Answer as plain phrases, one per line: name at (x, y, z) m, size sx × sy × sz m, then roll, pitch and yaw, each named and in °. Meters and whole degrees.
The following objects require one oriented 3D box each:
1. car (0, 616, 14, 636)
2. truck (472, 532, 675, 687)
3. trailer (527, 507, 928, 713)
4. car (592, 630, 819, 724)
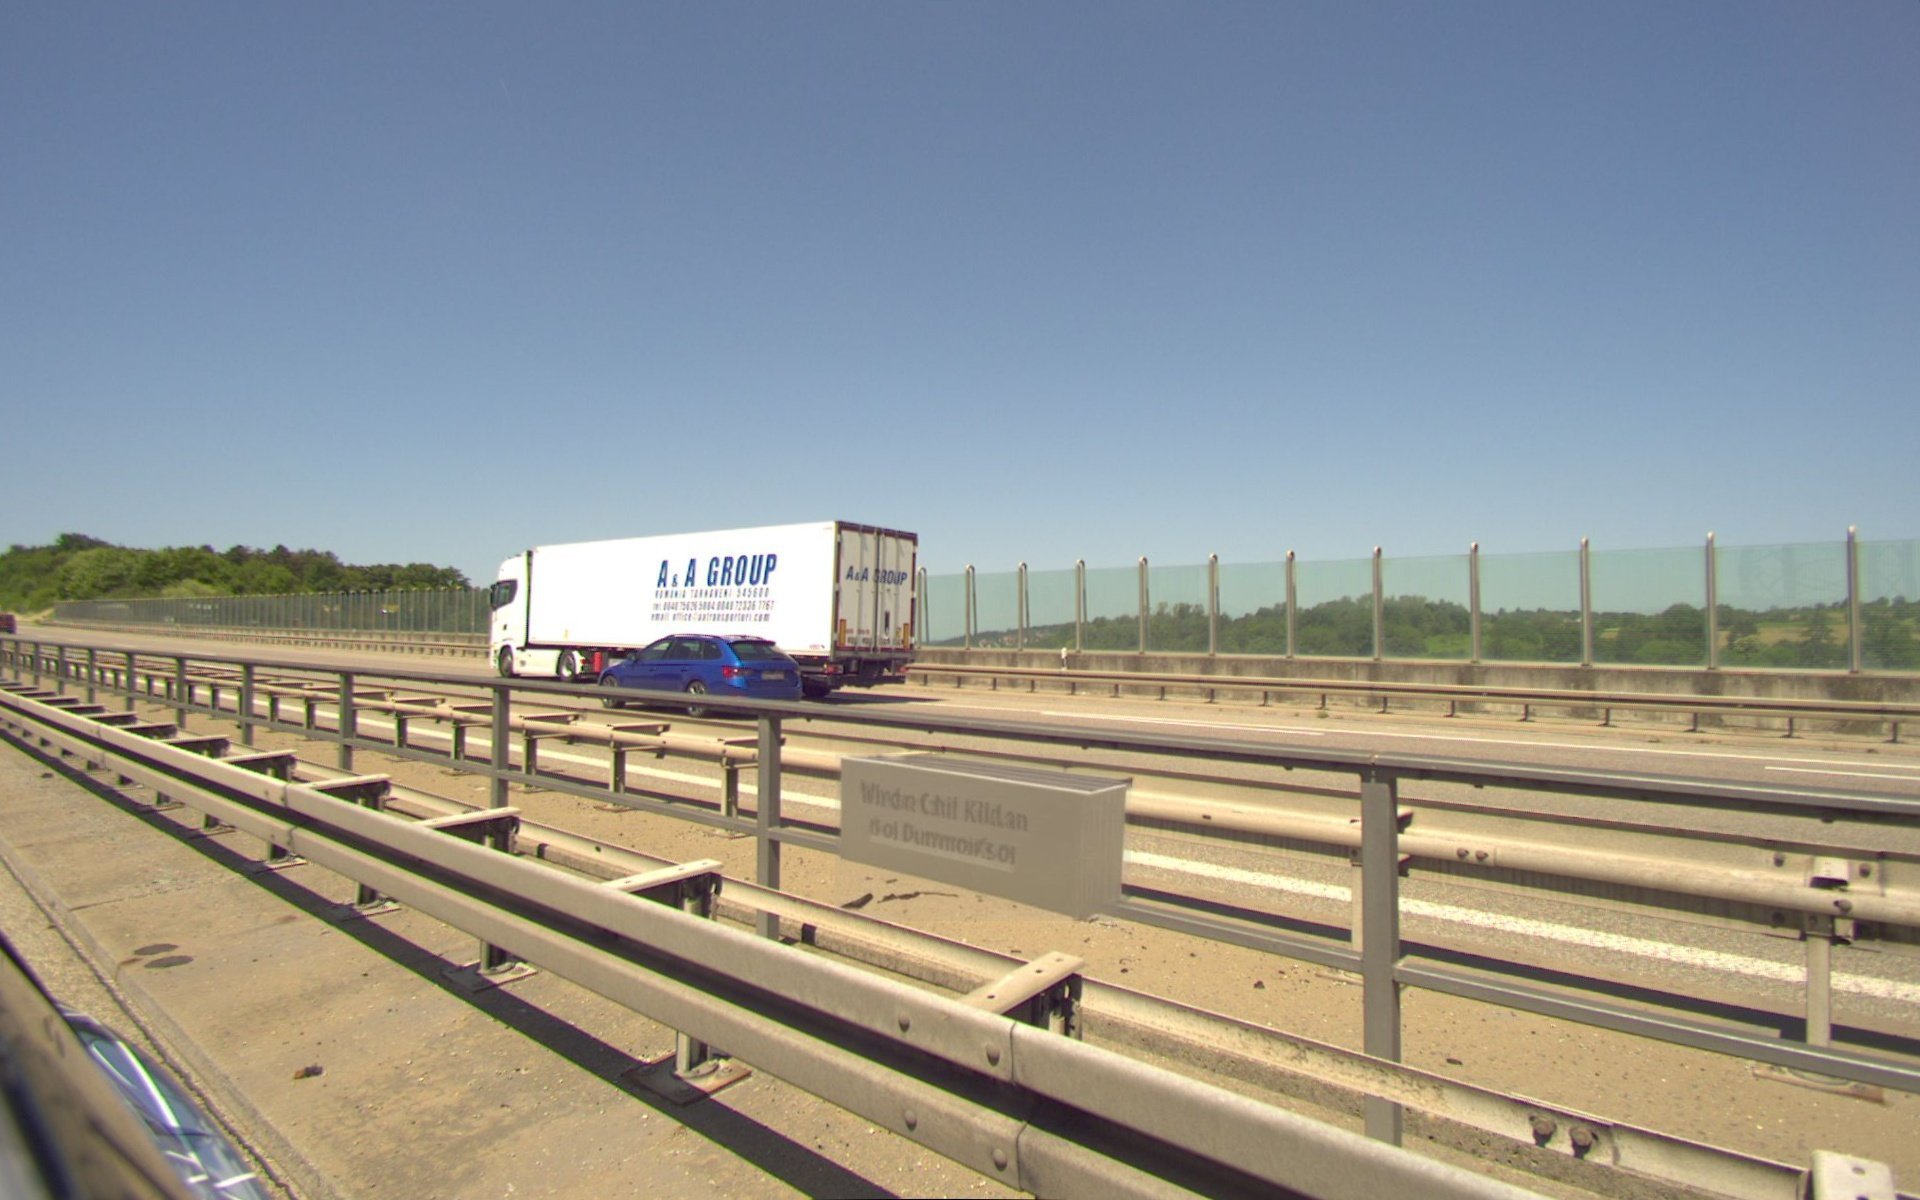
car at (-87.727, 2.337, 92.101) m, size 4.744 × 1.836 × 1.821 m, roll 0°, pitch -2°, yaw 40°
truck at (-12.161, 0.364, 31.576) m, size 6.855 × 4.326 × 2.898 m, roll 0°, pitch -4°, yaw 42°
trailer at (-6.839, 0.298, 26.893) m, size 13.655 × 4.340 × 2.875 m, roll 0°, pitch -3°, yaw 41°
car at (-4.790, 1.327, 18.672) m, size 4.602 × 1.503 × 1.754 m, roll -1°, pitch -2°, yaw 41°
